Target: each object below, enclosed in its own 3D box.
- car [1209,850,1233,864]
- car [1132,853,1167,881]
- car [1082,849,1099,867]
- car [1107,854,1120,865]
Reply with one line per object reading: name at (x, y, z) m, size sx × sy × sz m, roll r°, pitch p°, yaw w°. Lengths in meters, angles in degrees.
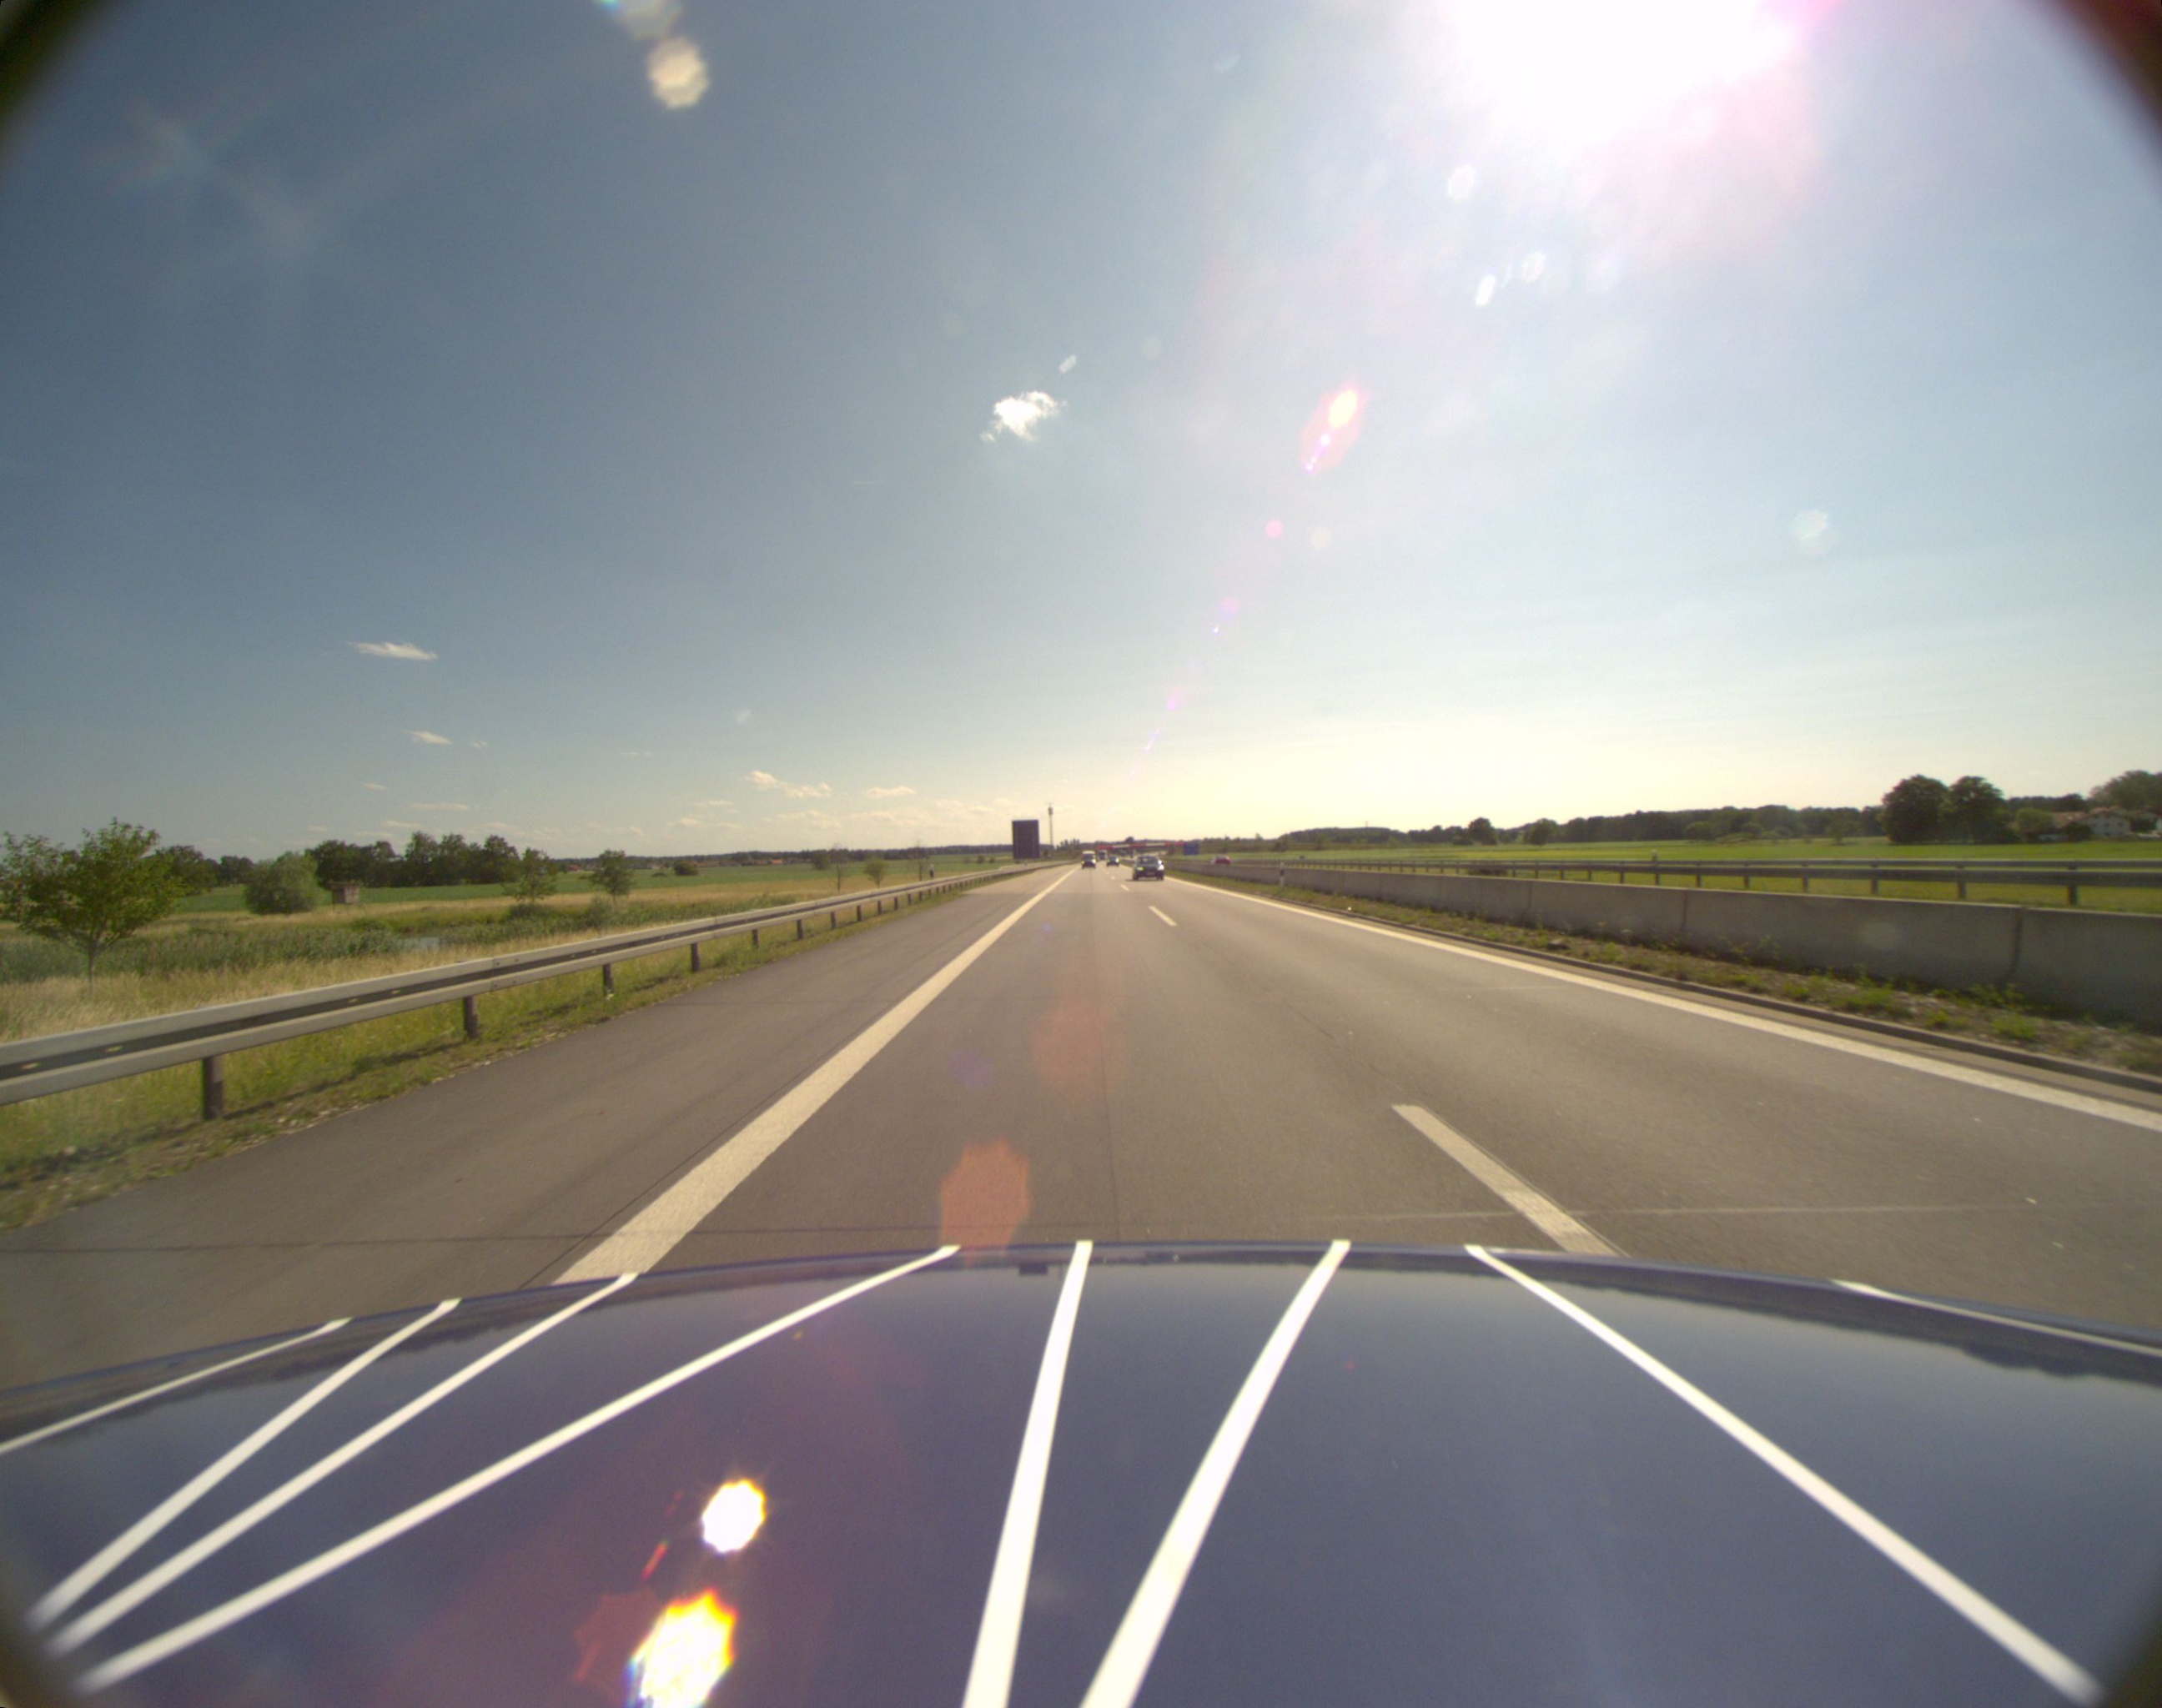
car at (15.531, 0.326, 84.475) m, size 1.902 × 1.514 × 4.806 m, roll 1°, pitch 0°, yaw 1°
car at (4.384, 0.822, 49.369) m, size 2.030 × 1.600 × 4.819 m, roll -3°, pitch 1°, yaw 3°
car at (1.335, 0.475, 100.444) m, size 2.030 × 2.225 × 4.818 m, roll -1°, pitch 1°, yaw 2°
car at (5.337, 0.878, 125.004) m, size 2.030 × 1.600 × 4.818 m, roll -2°, pitch 0°, yaw 1°
